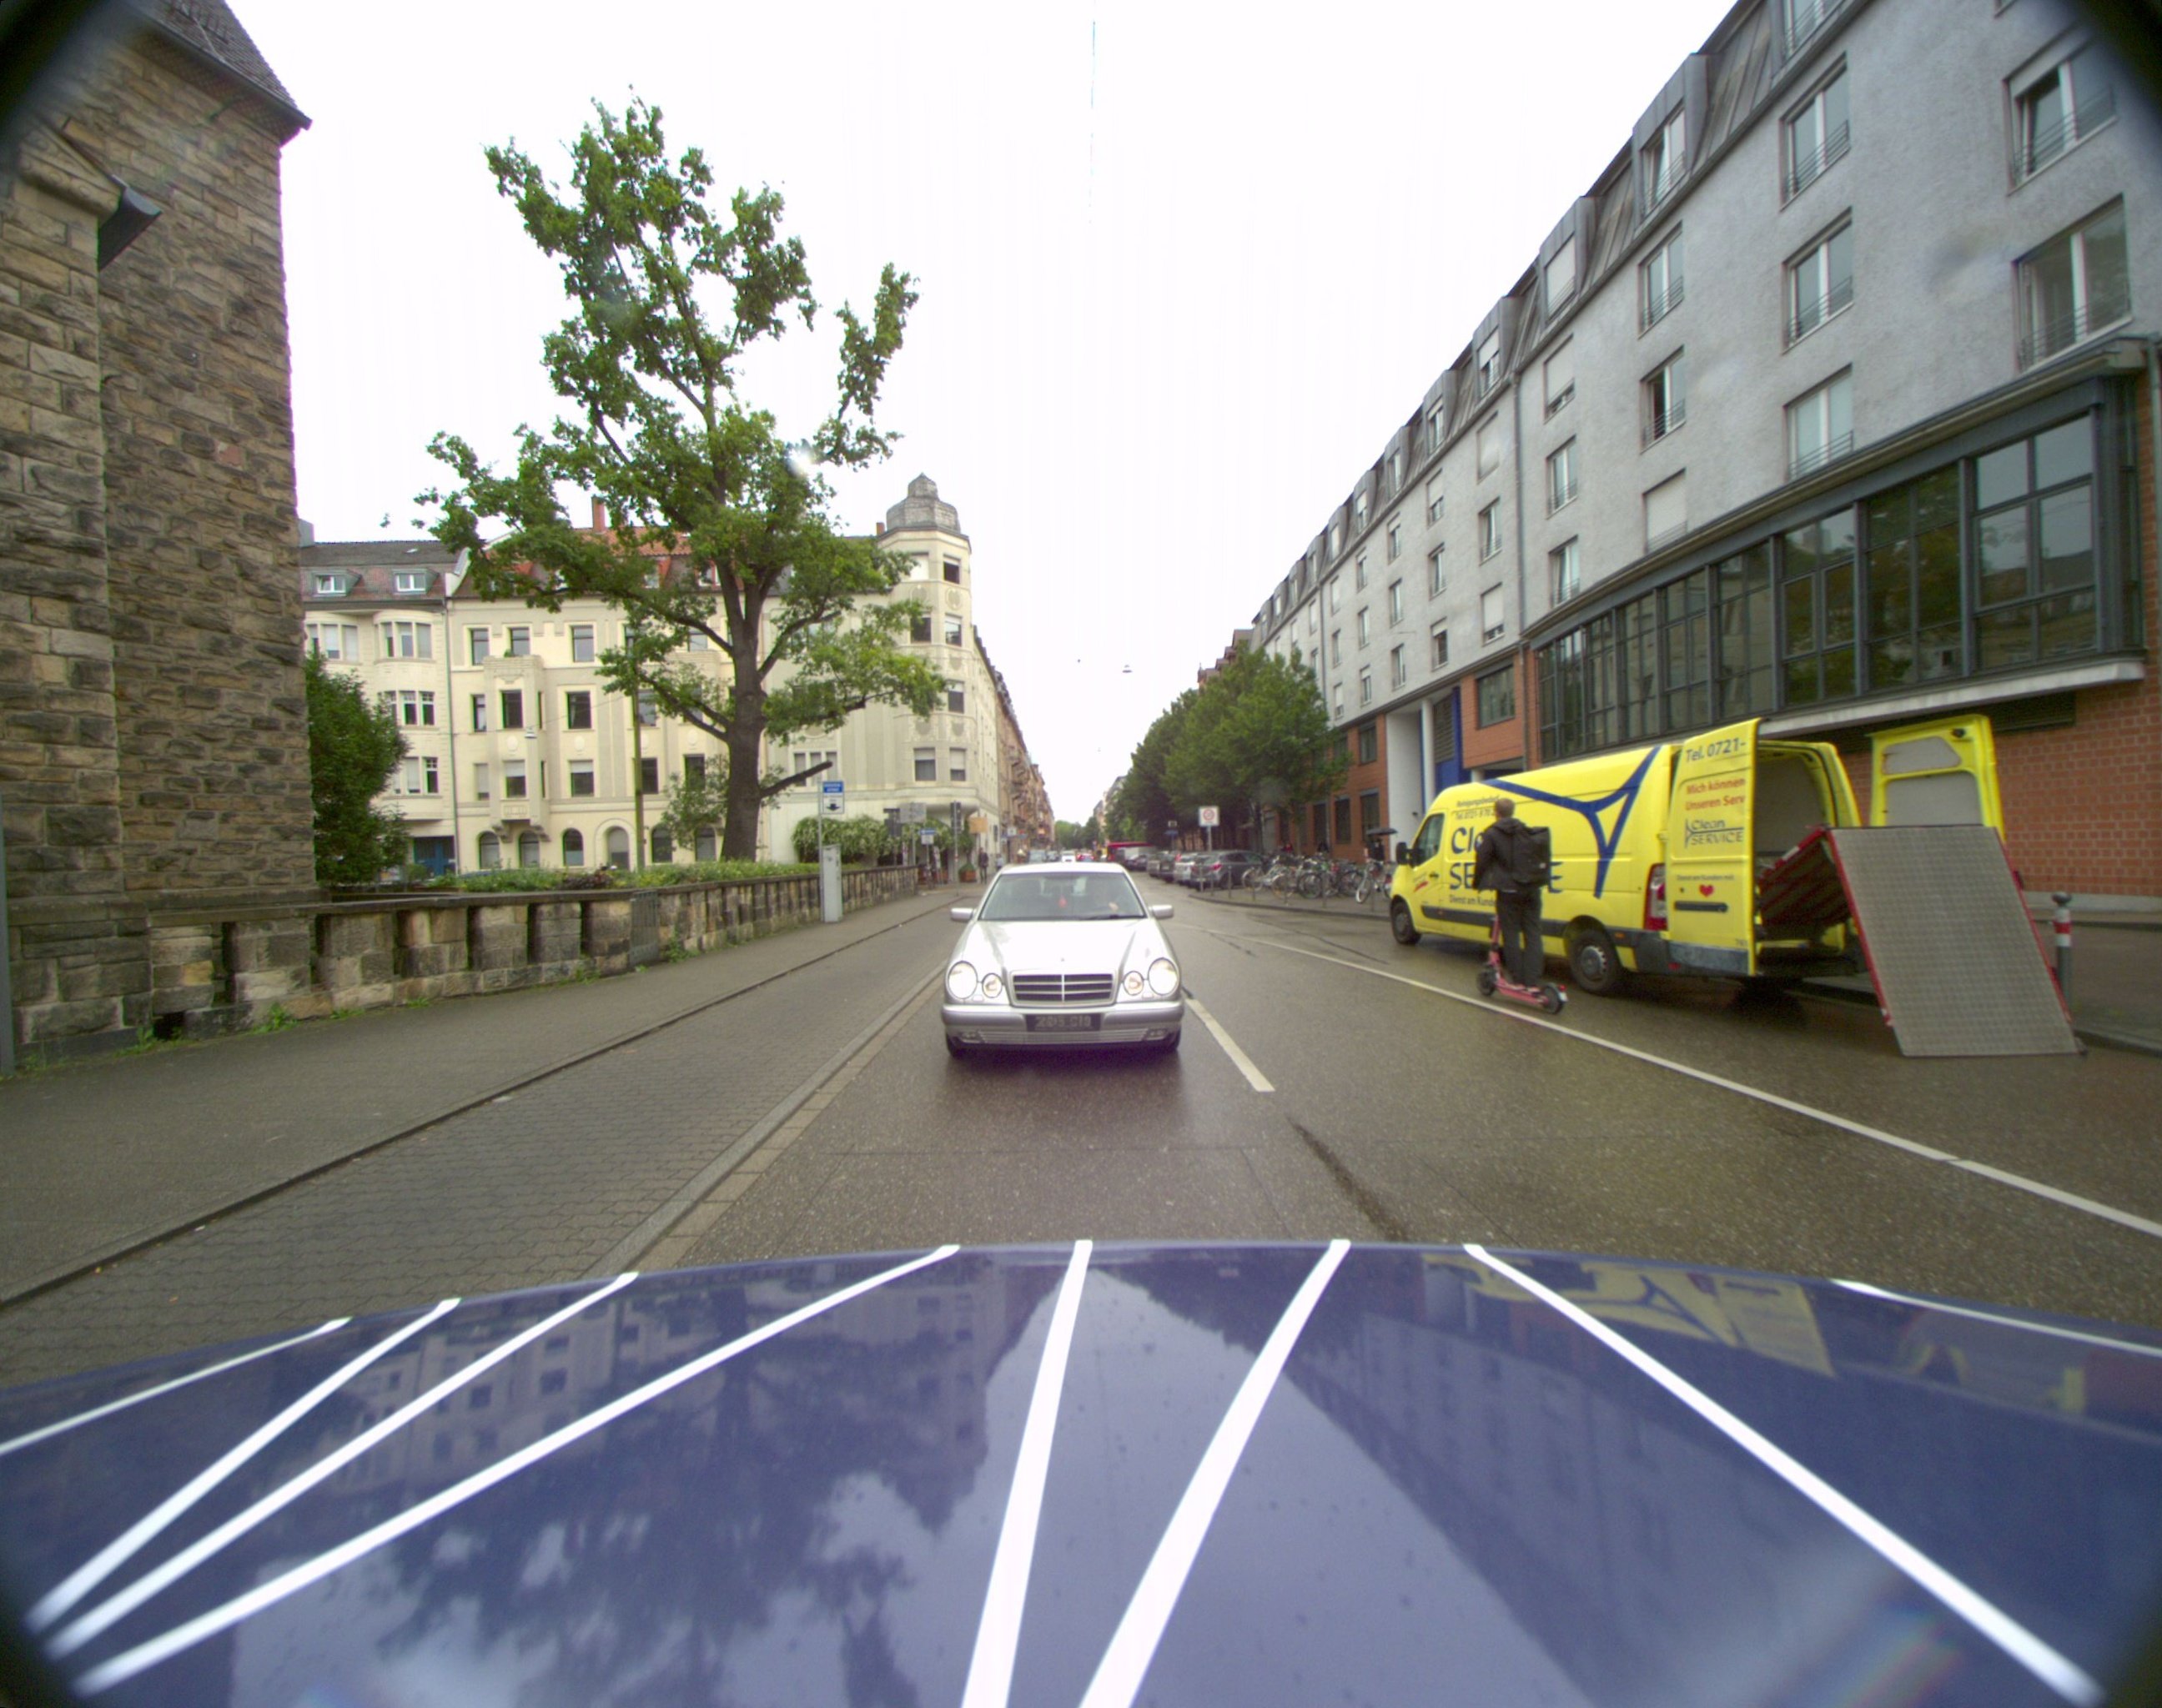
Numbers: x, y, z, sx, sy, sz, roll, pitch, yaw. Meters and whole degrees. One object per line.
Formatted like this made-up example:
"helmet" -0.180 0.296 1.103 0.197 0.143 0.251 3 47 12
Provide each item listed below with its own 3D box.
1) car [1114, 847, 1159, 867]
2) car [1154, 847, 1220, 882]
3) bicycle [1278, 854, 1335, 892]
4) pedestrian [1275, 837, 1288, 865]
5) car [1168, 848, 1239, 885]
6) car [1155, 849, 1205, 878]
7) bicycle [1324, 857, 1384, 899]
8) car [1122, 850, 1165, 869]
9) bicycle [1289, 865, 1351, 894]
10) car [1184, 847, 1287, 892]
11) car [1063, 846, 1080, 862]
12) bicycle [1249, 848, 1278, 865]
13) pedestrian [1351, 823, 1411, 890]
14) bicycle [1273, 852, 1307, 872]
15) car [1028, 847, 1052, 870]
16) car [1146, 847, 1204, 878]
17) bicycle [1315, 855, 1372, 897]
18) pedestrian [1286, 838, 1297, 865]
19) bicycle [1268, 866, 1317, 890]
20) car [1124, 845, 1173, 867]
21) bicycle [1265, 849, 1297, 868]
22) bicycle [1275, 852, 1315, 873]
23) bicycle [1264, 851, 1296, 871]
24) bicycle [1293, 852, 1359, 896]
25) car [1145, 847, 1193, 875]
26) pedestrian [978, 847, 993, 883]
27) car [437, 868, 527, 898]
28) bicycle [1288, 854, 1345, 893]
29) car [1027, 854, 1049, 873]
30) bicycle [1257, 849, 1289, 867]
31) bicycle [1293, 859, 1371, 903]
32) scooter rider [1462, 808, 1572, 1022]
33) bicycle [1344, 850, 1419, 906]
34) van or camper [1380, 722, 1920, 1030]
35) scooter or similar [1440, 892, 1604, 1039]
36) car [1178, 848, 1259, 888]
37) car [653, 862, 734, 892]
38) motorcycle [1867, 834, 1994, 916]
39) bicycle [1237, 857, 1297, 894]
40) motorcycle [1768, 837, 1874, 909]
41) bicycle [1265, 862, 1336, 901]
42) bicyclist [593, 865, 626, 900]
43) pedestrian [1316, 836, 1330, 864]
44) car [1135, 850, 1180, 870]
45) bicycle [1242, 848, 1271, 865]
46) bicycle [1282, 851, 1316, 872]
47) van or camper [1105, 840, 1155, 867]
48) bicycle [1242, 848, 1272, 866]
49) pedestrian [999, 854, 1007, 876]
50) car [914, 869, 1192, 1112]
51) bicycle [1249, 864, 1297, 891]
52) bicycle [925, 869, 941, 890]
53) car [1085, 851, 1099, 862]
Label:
"car" 5.190 0.251 70.649 4.338 1.822 1.571 -1 1 -41
"car" 5.240 0.504 37.457 3.084 1.543 1.449 -3 1 -40
"bicycle" 7.243 0.606 24.424 1.610 1.099 0.520 -3 1 -5
"pedestrian" 11.898 -0.188 45.057 0.605 1.601 0.372 -2 1 -1
"car" 5.601 0.548 34.572 3.084 1.494 1.449 -3 1 -40
"car" 5.312 0.498 40.689 2.506 1.442 1.191 -3 1 -40
"bicycle" 7.496 0.649 20.896 1.462 1.058 0.418 -3 1 4
"car" 5.191 0.471 62.906 1.685 1.482 3.799 0 1 40
"bicycle" 7.274 0.763 23.120 1.773 0.757 0.456 -3 1 -13
"car" 5.916 0.553 29.037 3.629 1.494 1.736 -3 2 -31
"car" -1.251 0.014 100.520 1.998 2.002 4.000 -1 1 1
"bicycle" 10.792 0.154 44.956 1.590 0.979 0.465 -2 1 -8
"pedestrian" 9.074 0.079 23.032 1.228 1.870 1.055 -6 1 0
"bicycle" 10.475 0.394 38.086 1.590 0.979 0.445 -2 1 -8
"car" -3.308 0.340 61.486 1.726 1.794 3.462 -1 0 0
"car" 5.360 0.476 43.197 2.985 1.546 1.369 -3 1 -29
"bicycle" 7.470 0.625 21.669 1.461 1.096 0.462 -3 1 14
"pedestrian" 12.356 -0.156 44.628 0.514 1.601 0.425 -2 1 1
"bicycle" 7.039 0.794 25.364 1.473 0.717 0.497 -3 1 3
"car" 5.979 0.149 67.137 4.338 1.884 1.685 -1 1 -41
"bicycle" 10.677 0.230 40.621 1.590 0.979 0.445 -2 1 -8
"bicycle" 10.603 0.399 37.613 1.851 0.979 0.445 -2 1 -8
"bicycle" 10.467 0.358 40.001 1.590 0.979 0.445 -2 1 -8
"bicycle" 7.253 0.572 22.527 1.815 1.187 0.519 -3 1 -13
"car" 5.330 0.408 45.954 2.685 1.546 1.148 -3 1 -29
"pedestrian" -5.061 0.567 40.225 0.646 1.862 0.693 -1 1 0
"car" -29.387 1.420 37.337 3.270 1.401 1.448 -1 1 3
"bicycle" 7.373 0.595 23.775 1.611 1.099 0.519 -3 1 -13
"car" -3.138 0.657 56.418 1.447 1.348 3.204 -1 0 0
"bicycle" 10.560 0.213 41.786 1.590 0.979 0.465 -2 1 -8
"bicycle" 6.708 0.727 20.391 1.858 1.067 0.609 -3 1 5
"scooter rider" 4.065 0.551 7.111 0.712 1.924 0.503 -1 1 -2
"bicycle" 7.533 0.571 19.005 1.922 1.209 0.768 -6 3 -35
"van or camper" 6.042 0.176 9.459 2.201 2.596 5.941 -1 0 -1
"scooter or similar" 4.073 0.981 7.141 0.702 1.158 1.385 -1 1 -2
"car" 5.791 0.554 31.964 3.083 1.494 1.449 -3 1 -31
"car" -19.263 1.137 37.831 3.270 1.401 1.448 -1 1 3
"motorcycle" 13.258 0.294 11.924 0.524 1.174 1.760 -3 1 19
"bicycle" 6.100 0.689 24.894 1.812 1.099 0.472 -3 1 -5
"motorcycle" 13.066 0.299 13.493 0.524 1.174 2.006 -3 1 19
"bicycle" 6.129 0.766 21.229 1.800 0.987 0.520 -3 1 -2
"bicyclist" -21.068 1.251 33.956 1.133 1.521 0.537 -2 1 3
"pedestrian" 13.087 -0.202 41.078 0.516 1.521 0.548 -1 1 -3
"car" 6.130 0.441 60.390 1.685 1.482 3.799 0 1 40
"bicycle" 10.643 0.135 46.090 1.590 0.979 0.465 -2 1 -8
"bicycle" 11.099 0.374 38.631 1.590 0.979 0.445 -2 1 -8
"van or camper" 4.966 -0.095 76.570 4.604 2.597 1.999 -1 1 -27
"bicycle" 10.207 0.182 44.060 1.590 0.979 0.465 -2 1 -8
"pedestrian" -5.085 0.709 49.467 0.482 1.452 0.392 -1 1 0
"car" -0.178 0.924 6.922 1.764 1.420 3.999 -2 0 0
"bicycle" 6.562 0.798 25.991 1.473 0.800 0.497 -3 1 3
"bicycle" -7.313 1.252 37.651 0.390 0.888 2.023 -1 3 0
"car" 1.412 0.305 98.193 1.651 1.301 3.311 -1 0 -3
